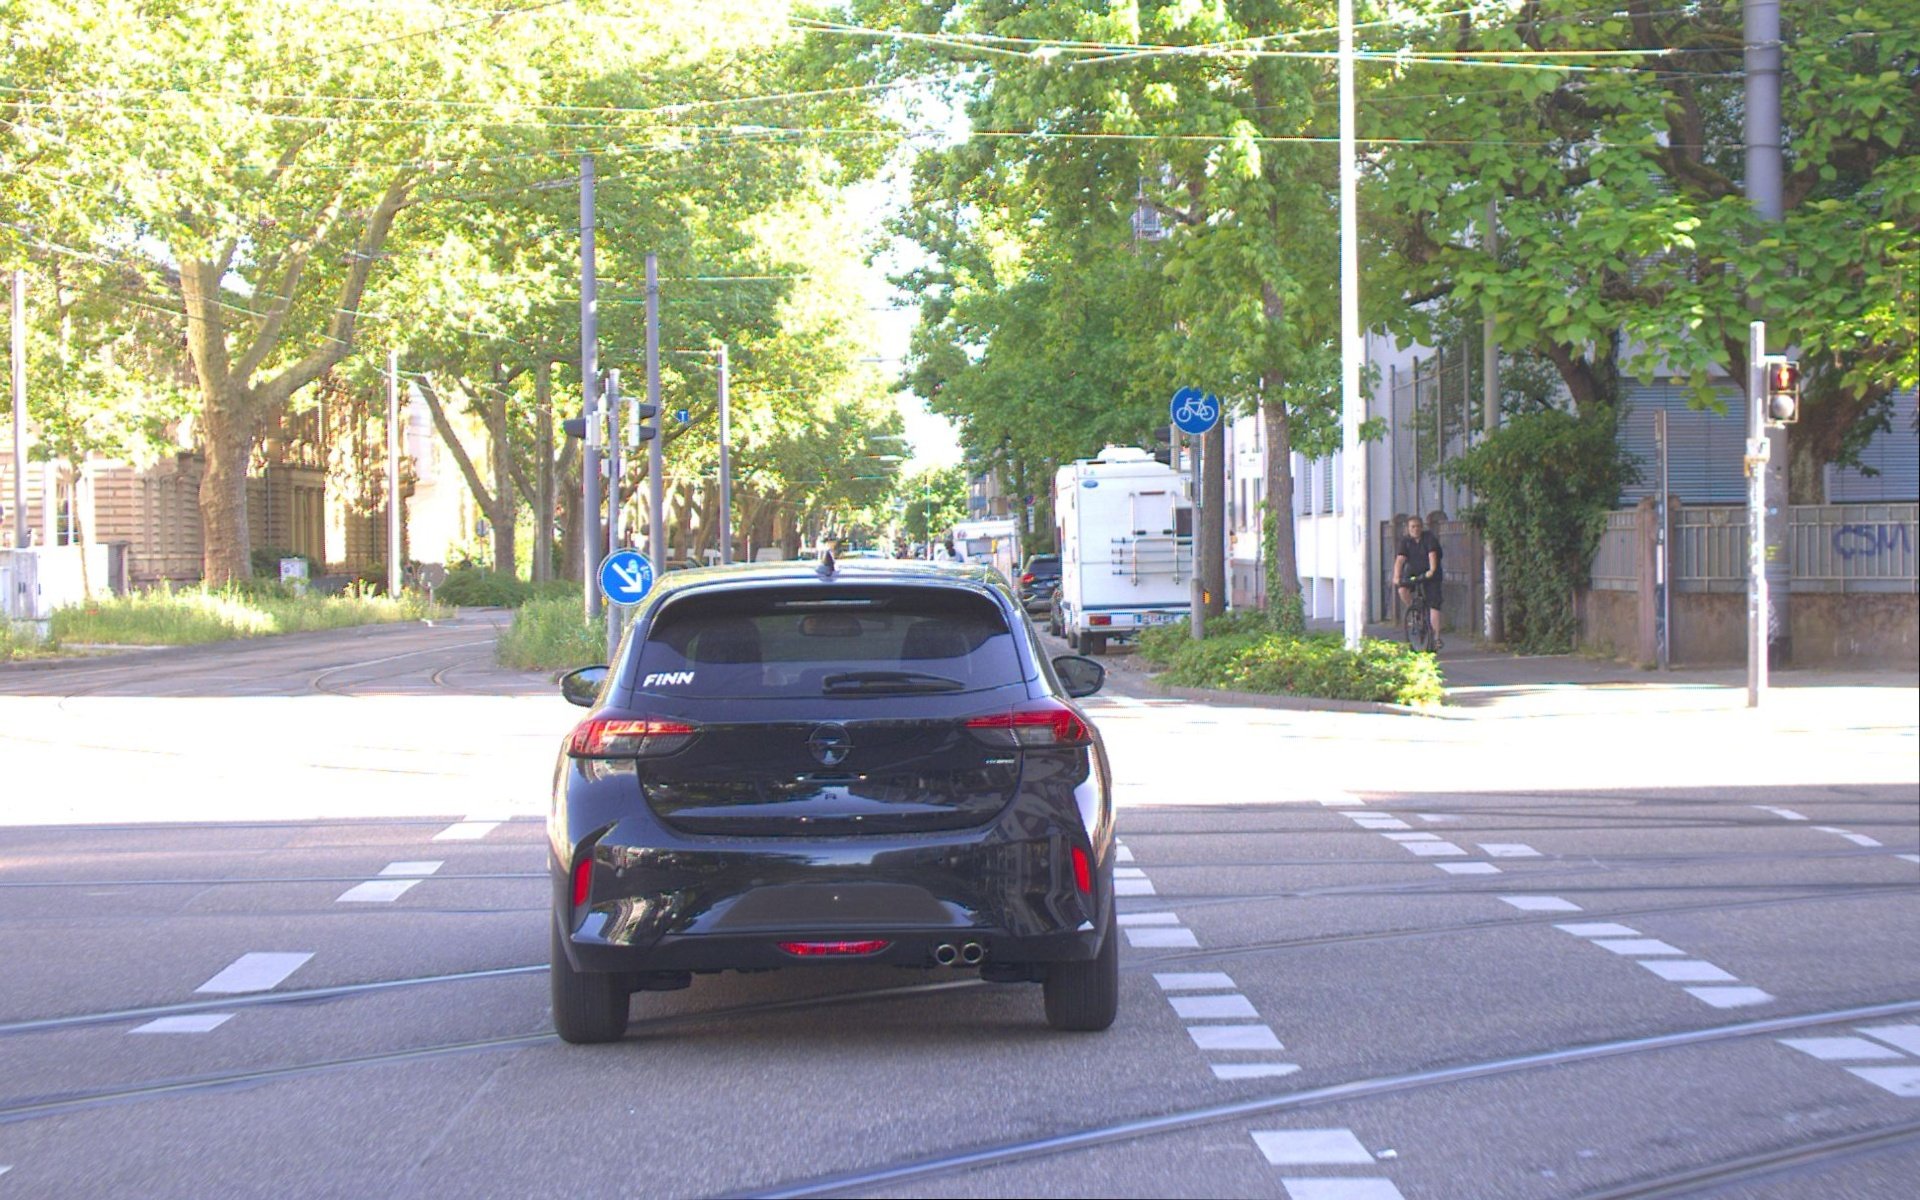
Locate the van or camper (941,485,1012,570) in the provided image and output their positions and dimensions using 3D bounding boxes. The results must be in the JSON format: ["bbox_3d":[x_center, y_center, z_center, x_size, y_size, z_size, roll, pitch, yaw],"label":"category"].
[{"bbox_3d":[0.616,-2.644,125.987,2.486,2.983,5.434,2,1,1],"label":"van or camper"}]

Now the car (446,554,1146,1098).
[{"bbox_3d":[-0.424,0.590,11.492,1.905,1.420,4.215,0,2,1],"label":"car"}]

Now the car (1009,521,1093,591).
[{"bbox_3d":[2.084,-1.041,79.573,1.790,1.505,3.874,-2,1,0],"label":"car"}]

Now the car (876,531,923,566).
[{"bbox_3d":[-2.599,-2.243,148.836,1.905,1.420,4.215,0,2,1],"label":"car"}]

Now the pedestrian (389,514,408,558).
[{"bbox_3d":[-22.125,-2.515,135.530,0.618,1.727,0.596,2,1,-1],"label":"pedestrian"}]

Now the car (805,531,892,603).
[{"bbox_3d":[-2.477,-0.760,77.130,1.790,1.505,3.874,-2,1,0],"label":"car"}]

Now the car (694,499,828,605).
[{"bbox_3d":[-3.243,-0.817,56.713,1.993,1.622,4.471,2,1,-1],"label":"car"}]

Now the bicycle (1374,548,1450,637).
[{"bbox_3d":[5.697,-0.110,43.288,0.640,1.066,1.949,0,2,17],"label":"bicycle"}]

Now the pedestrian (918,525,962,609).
[{"bbox_3d":[-0.489,-0.804,83.597,1.036,2.017,1.212,0,1,-1],"label":"pedestrian"}]

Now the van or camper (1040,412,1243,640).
[{"bbox_3d":[2.667,-1.142,52.676,2.375,3.114,7.552,-3,1,-1],"label":"van or camper"}]

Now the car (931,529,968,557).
[{"bbox_3d":[-0.542,-3.040,183.379,1.905,1.420,4.215,0,2,1],"label":"car"}]

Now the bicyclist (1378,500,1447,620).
[{"bbox_3d":[5.706,-0.507,43.331,0.749,1.504,0.701,0,1,17],"label":"bicyclist"}]
